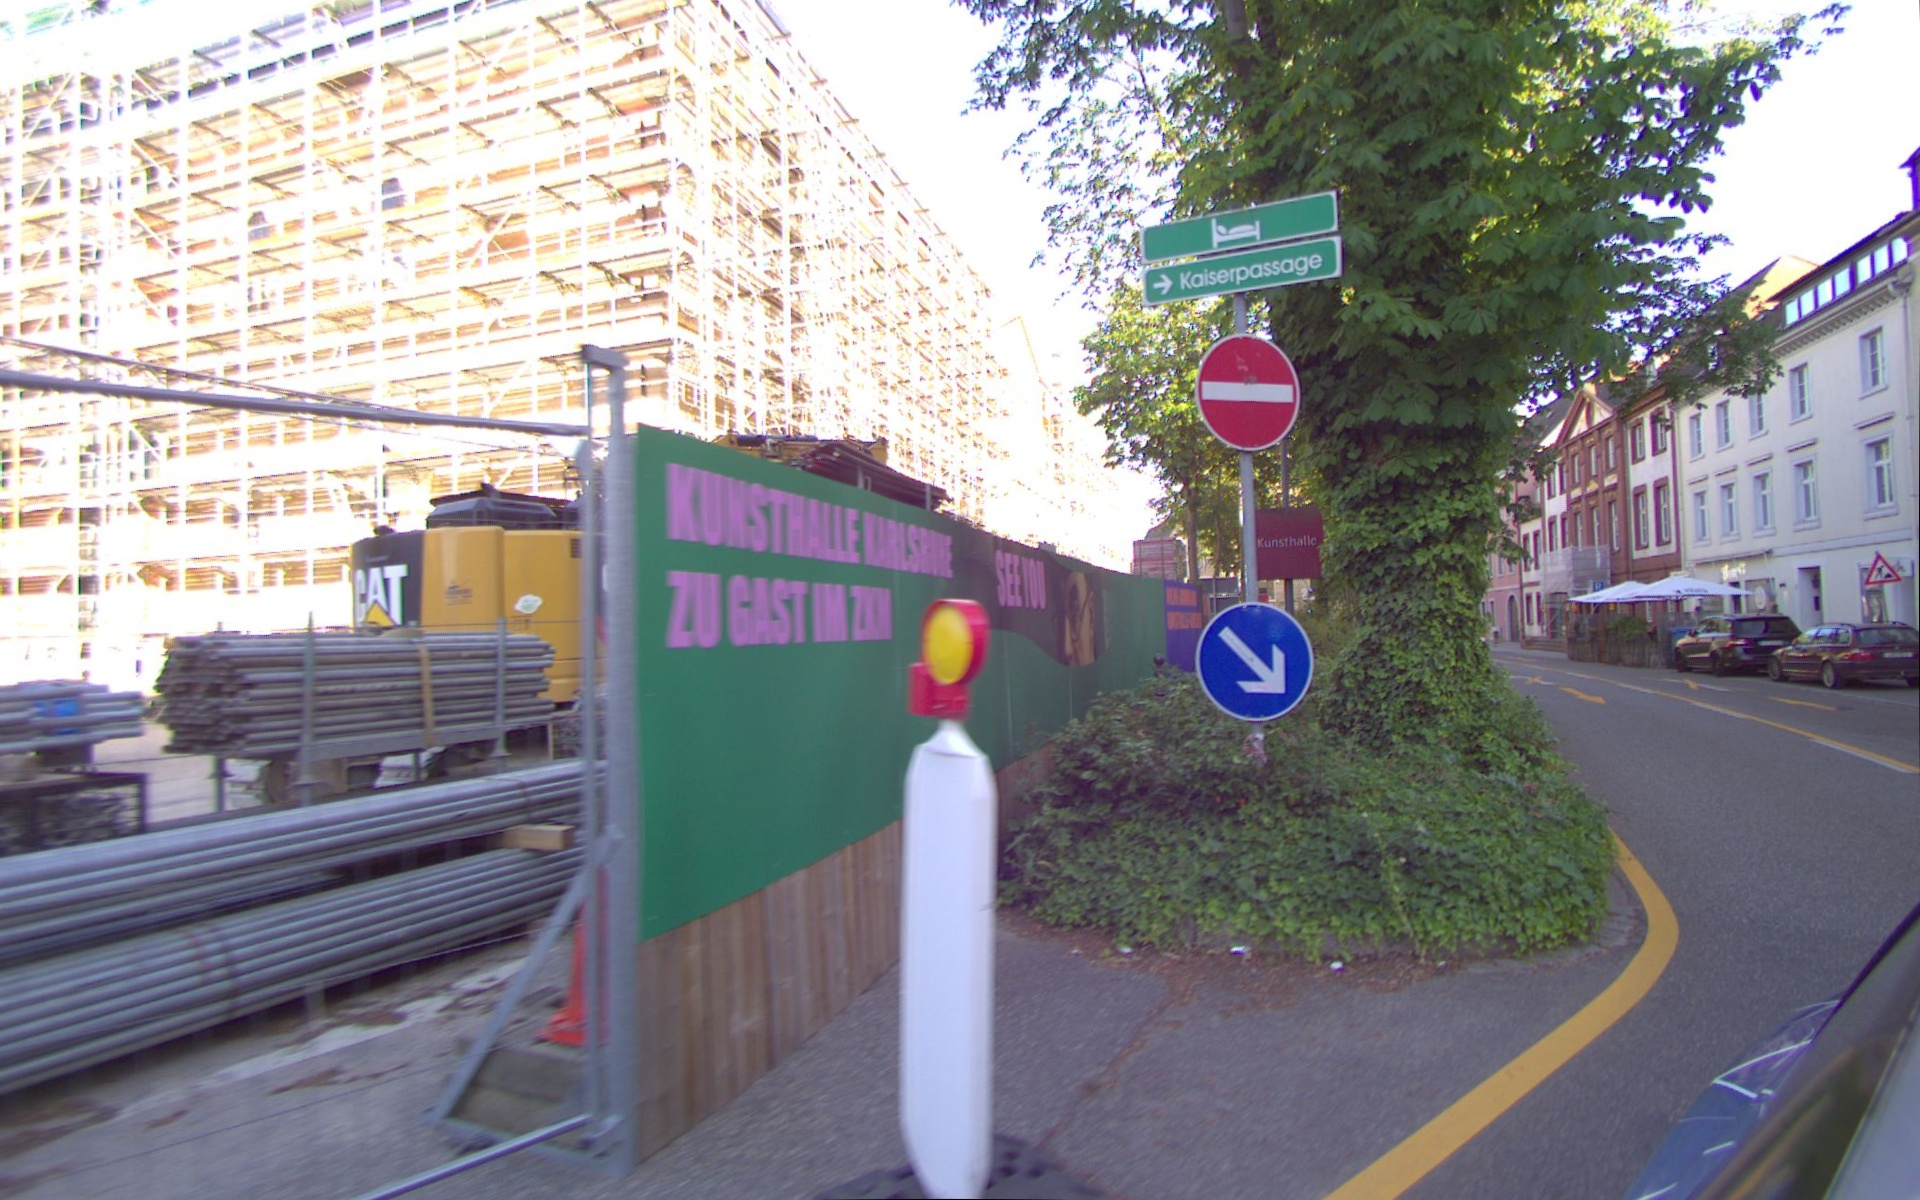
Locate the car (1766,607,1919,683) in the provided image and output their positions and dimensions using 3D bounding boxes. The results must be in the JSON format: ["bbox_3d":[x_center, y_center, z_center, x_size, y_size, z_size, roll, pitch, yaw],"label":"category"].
[{"bbox_3d":[20.399,0.982,23.004,1.748,1.507,4.169,-4,-3,18],"label":"car"}]

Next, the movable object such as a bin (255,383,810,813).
[{"bbox_3d":[-4.157,0.058,10.558,3.143,3.343,4.341,-2,-2,29],"label":"movable object such as a bin"}]

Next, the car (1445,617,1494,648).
[{"bbox_3d":[26.217,1.645,52.148,1.797,1.483,3.972,0,-1,20],"label":"car"}]

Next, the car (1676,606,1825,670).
[{"bbox_3d":[21.906,1.042,28.261,1.795,1.592,4.363,-2,-2,18],"label":"car"}]
